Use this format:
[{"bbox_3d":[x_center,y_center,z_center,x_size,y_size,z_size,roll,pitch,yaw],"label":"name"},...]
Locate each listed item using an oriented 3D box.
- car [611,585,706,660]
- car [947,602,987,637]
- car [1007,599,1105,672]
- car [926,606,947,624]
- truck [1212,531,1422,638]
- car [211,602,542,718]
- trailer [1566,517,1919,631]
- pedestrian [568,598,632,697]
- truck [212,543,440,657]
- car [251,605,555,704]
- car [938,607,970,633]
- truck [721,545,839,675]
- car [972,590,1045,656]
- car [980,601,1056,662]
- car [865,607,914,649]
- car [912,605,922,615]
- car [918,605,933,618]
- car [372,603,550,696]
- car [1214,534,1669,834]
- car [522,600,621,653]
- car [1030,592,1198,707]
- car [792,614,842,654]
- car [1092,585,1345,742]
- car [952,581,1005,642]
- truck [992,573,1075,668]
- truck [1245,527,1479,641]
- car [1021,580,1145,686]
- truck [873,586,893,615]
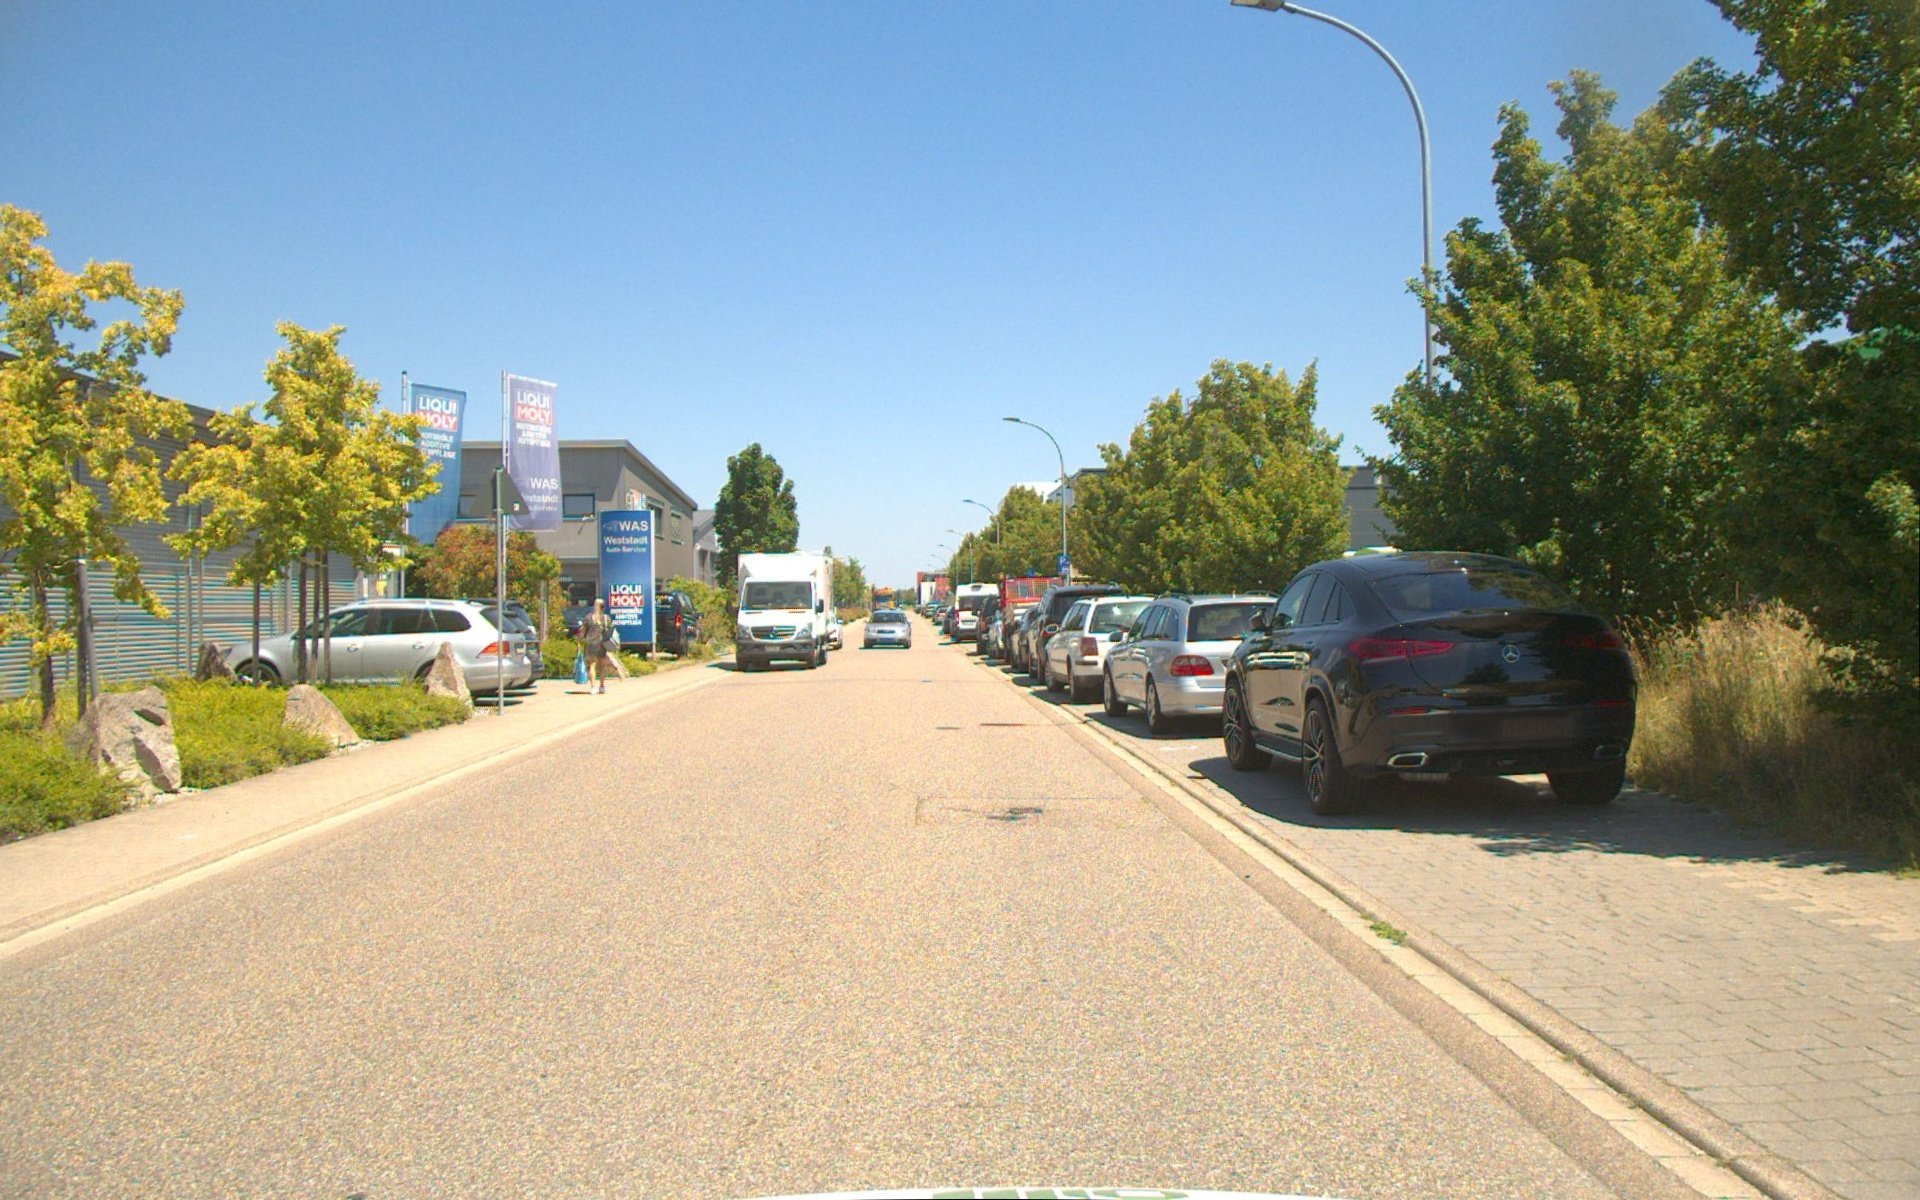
[{"bbox_3d":[-8.574,0.635,47.491,1.953,1.991,5.215,-1,-1,-2],"label":"car"},{"bbox_3d":[0.342,1.068,91.051,1.954,1.857,4.351,-2,-1,-2],"label":"car"},{"bbox_3d":[2.049,0.750,36.531,1.664,1.407,4.835,-3,0,-2],"label":"car"},{"bbox_3d":[-2.014,1.280,140.068,1.683,1.475,3.644,-2,0,-2],"label":"car"},{"bbox_3d":[10.700,-0.450,49.875,5.705,2.964,2.413,-2,-1,-3],"label":"truck"},{"bbox_3d":[-8.422,0.844,24.174,4.177,1.544,1.865,-1,0,-3],"label":"car"},{"bbox_3d":[29.414,-0.929,61.969,12.364,3.943,2.803,-1,-1,-2],"label":"trailer"},{"bbox_3d":[-5.997,0.781,27.575,0.881,1.602,0.785,1,0,-1],"label":"pedestrian"},{"bbox_3d":[-21.315,-0.006,55.483,7.881,3.619,2.583,0,0,27],"label":"truck"},{"bbox_3d":[-8.830,0.839,26.467,4.221,1.457,1.846,-1,0,-1],"label":"car"},{"bbox_3d":[-0.348,1.222,103.368,1.673,1.531,4.707,-2,-1,3],"label":"car"},{"bbox_3d":[-4.465,0.262,41.990,2.314,2.910,6.412,-3,-1,-2],"label":"truck"},{"bbox_3d":[1.492,0.717,52.776,1.953,1.917,5.153,-2,0,-2],"label":"car"},{"bbox_3d":[1.589,0.869,46.732,1.704,1.557,3.997,-3,0,-4],"label":"car"},{"bbox_3d":[-2.728,1.051,63.583,1.748,1.447,4.411,-3,-1,-3],"label":"car"},{"bbox_3d":[-6.507,1.534,251.565,1.465,1.434,3.498,-1,0,-2],"label":"car"},{"bbox_3d":[-3.925,1.294,187.310,1.553,1.434,3.498,-1,0,-2],"label":"car"},{"bbox_3d":[-8.768,0.857,29.213,2.686,1.544,1.534,-1,0,-3],"label":"car"},{"bbox_3d":[3.291,0.506,12.361,1.910,1.730,4.543,-3,0,-2],"label":"car"},{"bbox_3d":[-11.167,0.736,47.870,1.892,1.441,4.767,1,-1,-2],"label":"car"},{"bbox_3d":[2.251,0.688,25.425,1.680,1.508,4.768,-3,0,-5],"label":"car"},{"bbox_3d":[-5.468,1.285,63.700,1.695,1.484,4.489,-1,-1,-2],"label":"car"},{"bbox_3d":[2.829,0.643,19.254,1.770,1.508,4.768,-3,0,-5],"label":"car"},{"bbox_3d":[0.788,0.505,74.012,2.221,2.541,6.151,-2,0,0],"label":"car"},{"bbox_3d":[1.819,0.510,42.248,1.645,2.219,4.388,-3,0,-2],"label":"truck"},{"bbox_3d":[11.005,-0.425,45.582,5.787,2.922,2.304,-2,-1,-5],"label":"truck"},{"bbox_3d":[2.225,0.567,31.078,1.774,1.755,4.772,-3,0,-1],"label":"car"},{"bbox_3d":[-9.870,0.043,212.387,2.399,3.574,8.269,-2,0,-2],"label":"truck"}]
